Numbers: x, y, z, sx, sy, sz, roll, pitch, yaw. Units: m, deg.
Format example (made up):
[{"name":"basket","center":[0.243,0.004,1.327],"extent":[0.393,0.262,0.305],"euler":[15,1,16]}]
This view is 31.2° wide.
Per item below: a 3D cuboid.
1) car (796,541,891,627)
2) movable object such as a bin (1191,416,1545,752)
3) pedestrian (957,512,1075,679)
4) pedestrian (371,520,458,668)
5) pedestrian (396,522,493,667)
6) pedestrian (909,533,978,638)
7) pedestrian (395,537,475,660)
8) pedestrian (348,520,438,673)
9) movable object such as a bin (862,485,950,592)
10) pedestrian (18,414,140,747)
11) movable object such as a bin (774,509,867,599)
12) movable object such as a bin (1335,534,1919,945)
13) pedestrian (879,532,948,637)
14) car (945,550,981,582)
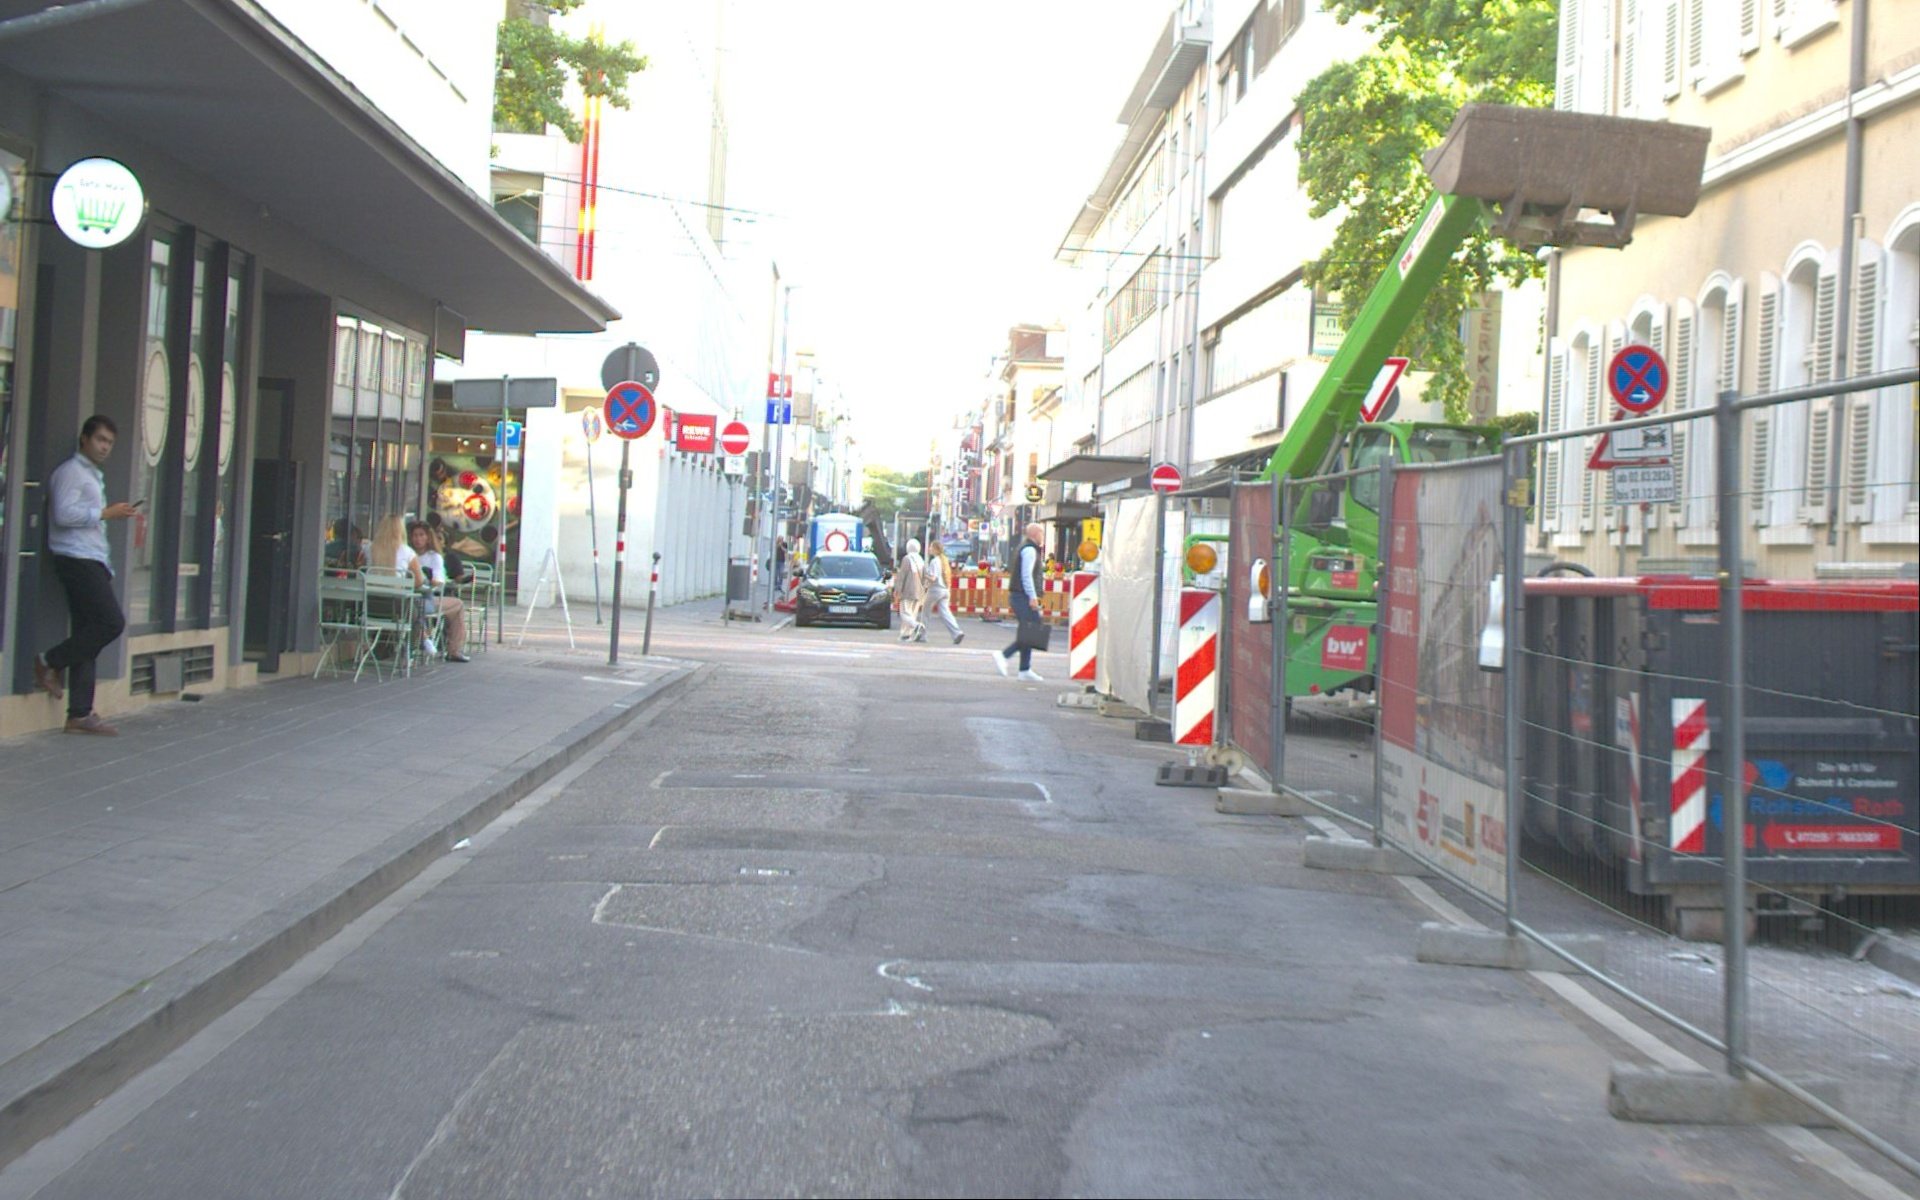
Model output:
[{"name":"car","center":[-2.256,-0.325,65.887],"extent":[1.629,1.545,3.143],"euler":[2,1,-4]},{"name":"movable object such as a bin","center":[3.697,-0.176,32.107],"extent":[2.605,2.829,4.450],"euler":[2,1,-1]},{"name":"pedestrian","center":[0.625,-0.053,38.662],"extent":[1.071,1.828,0.698],"euler":[2,1,-22]},{"name":"pedestrian","center":[-4.875,-0.060,30.759],"extent":[0.573,1.271,0.714],"euler":[5,1,-1]},{"name":"pedestrian","center":[-4.758,-0.056,31.786],"extent":[0.702,1.271,0.714],"euler":[5,1,-1]},{"name":"pedestrian","center":[-0.269,-0.231,54.706],"extent":[0.610,1.622,0.872],"euler":[1,1,-43]},{"name":"pedestrian","center":[-4.989,-0.019,32.686],"extent":[0.573,1.110,0.714],"euler":[5,1,-1]},{"name":"pedestrian","center":[-4.903,-0.037,29.771],"extent":[0.573,1.271,0.714],"euler":[5,1,-1]},{"name":"movable object such as a bin","center":[-1.458,-1.620,91.283],"extent":[2.156,2.654,4.573],"euler":[3,1,-1]},{"name":"pedestrian","center":[-4.963,-0.114,19.385],"extent":[0.530,1.828,0.563],"euler":[3,1,-7]},{"name":"movable object such as a bin","center":[-3.263,-1.089,81.091],"extent":[1.993,2.007,4.000],"euler":[2,1,-1]},{"name":"movable object such as a bin","center":[3.941,0.557,18.087],"extent":[2.735,1.633,7.553],"euler":[4,1,-2]},{"name":"pedestrian","center":[-0.734,-0.240,54.271],"extent":[0.610,1.622,0.872],"euler":[1,1,-43]},{"name":"car","center":[0.181,-2.025,205.027],"extent":[1.993,1.770,4.000],"euler":[2,1,-1]}]
